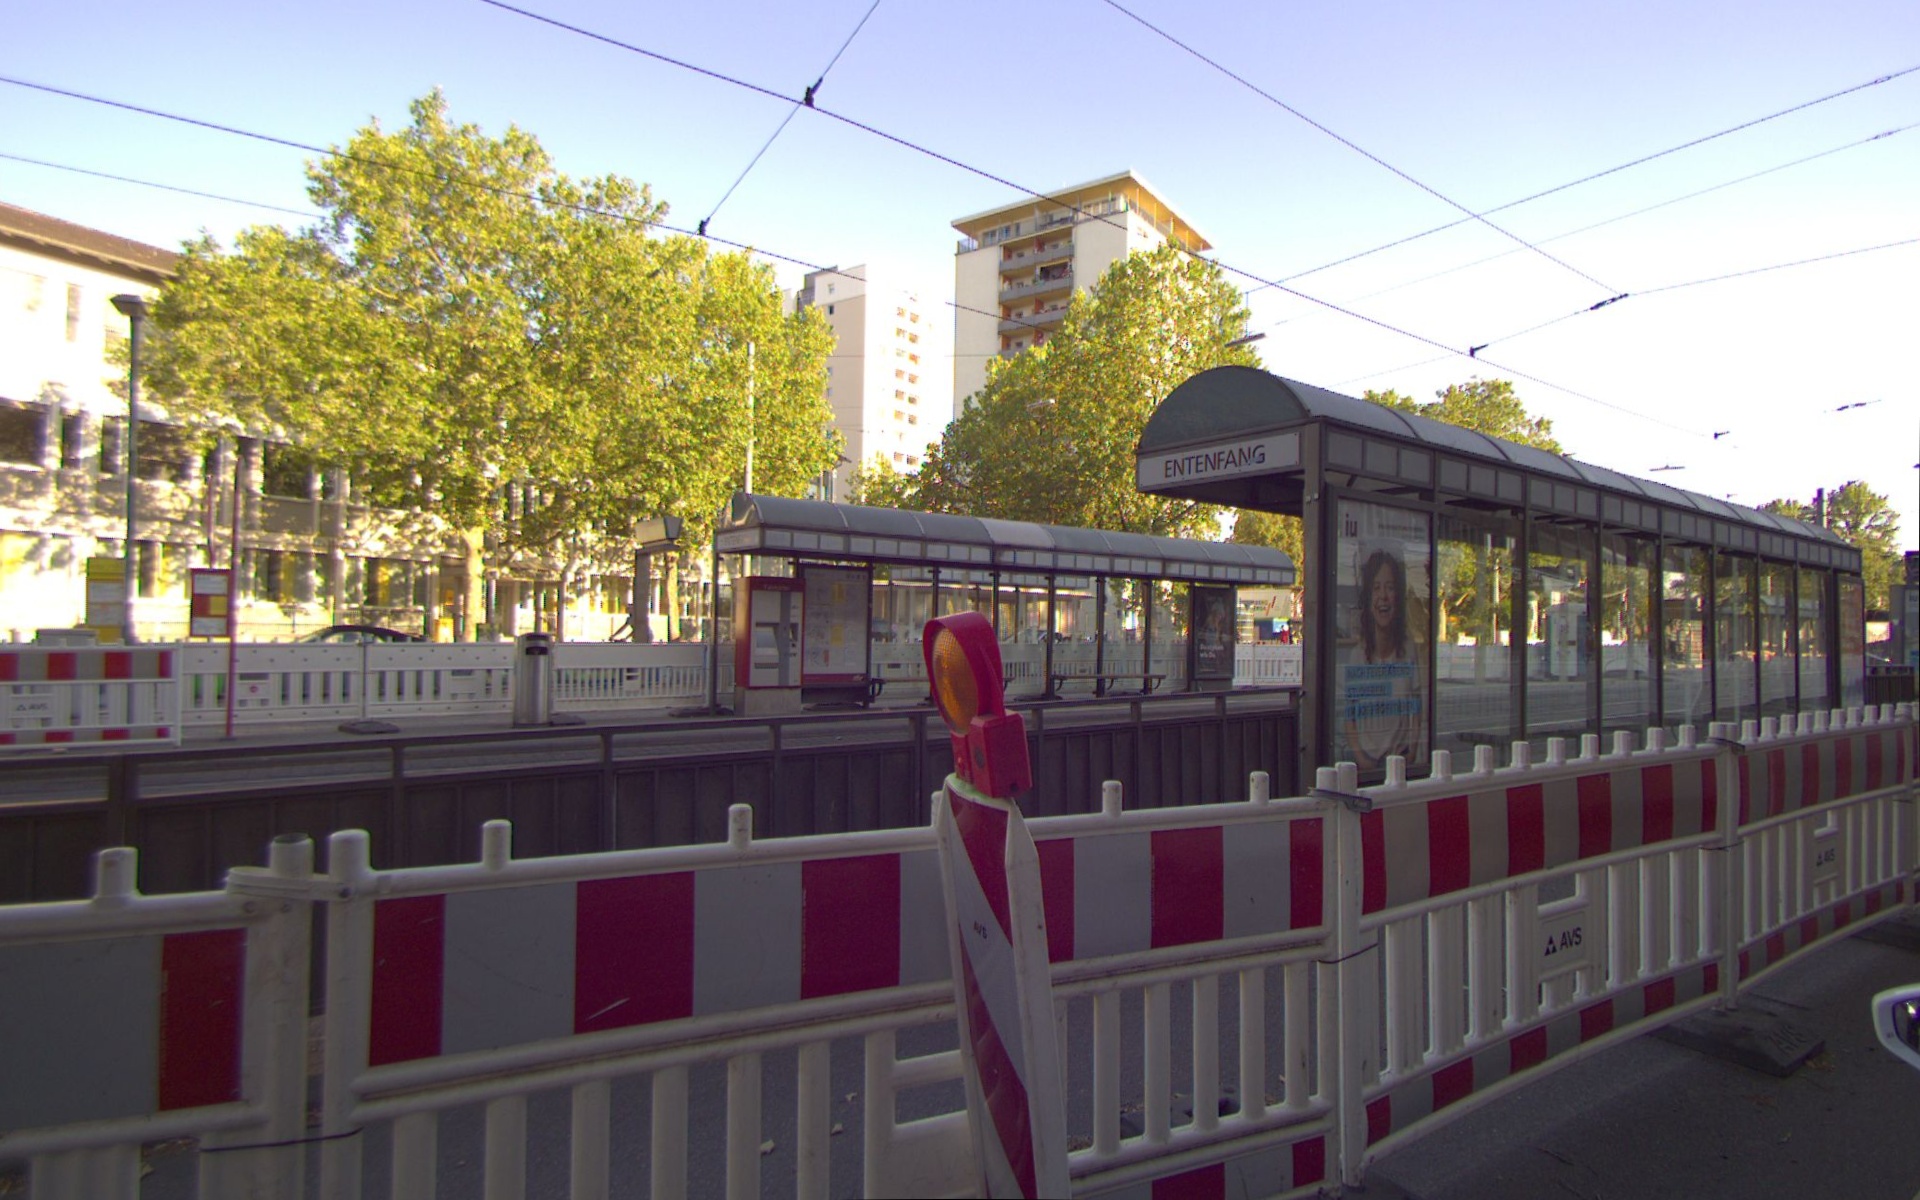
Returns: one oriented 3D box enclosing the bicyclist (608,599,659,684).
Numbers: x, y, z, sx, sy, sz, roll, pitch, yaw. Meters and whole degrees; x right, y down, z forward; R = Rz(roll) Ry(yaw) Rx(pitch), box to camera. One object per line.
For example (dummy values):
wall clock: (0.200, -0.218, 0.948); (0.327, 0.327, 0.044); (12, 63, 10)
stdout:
bicyclist: (-6.879, 0.868, 21.155); (0.826, 1.751, 0.728); (2, -2, -35)

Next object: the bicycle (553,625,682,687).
bicycle: (-7.127, 1.160, 20.970); (2.456, 1.223, 0.685); (2, -2, -36)

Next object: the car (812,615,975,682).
car: (-1.749, 1.288, 26.985); (3.959, 1.683, 1.901); (2, -2, -34)

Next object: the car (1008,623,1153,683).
car: (3.626, 1.565, 30.026); (3.958, 1.683, 1.982); (2, -2, -33)

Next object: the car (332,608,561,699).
car: (-10.434, 1.061, 20.462); (3.958, 1.683, 1.982); (2, -2, -33)
